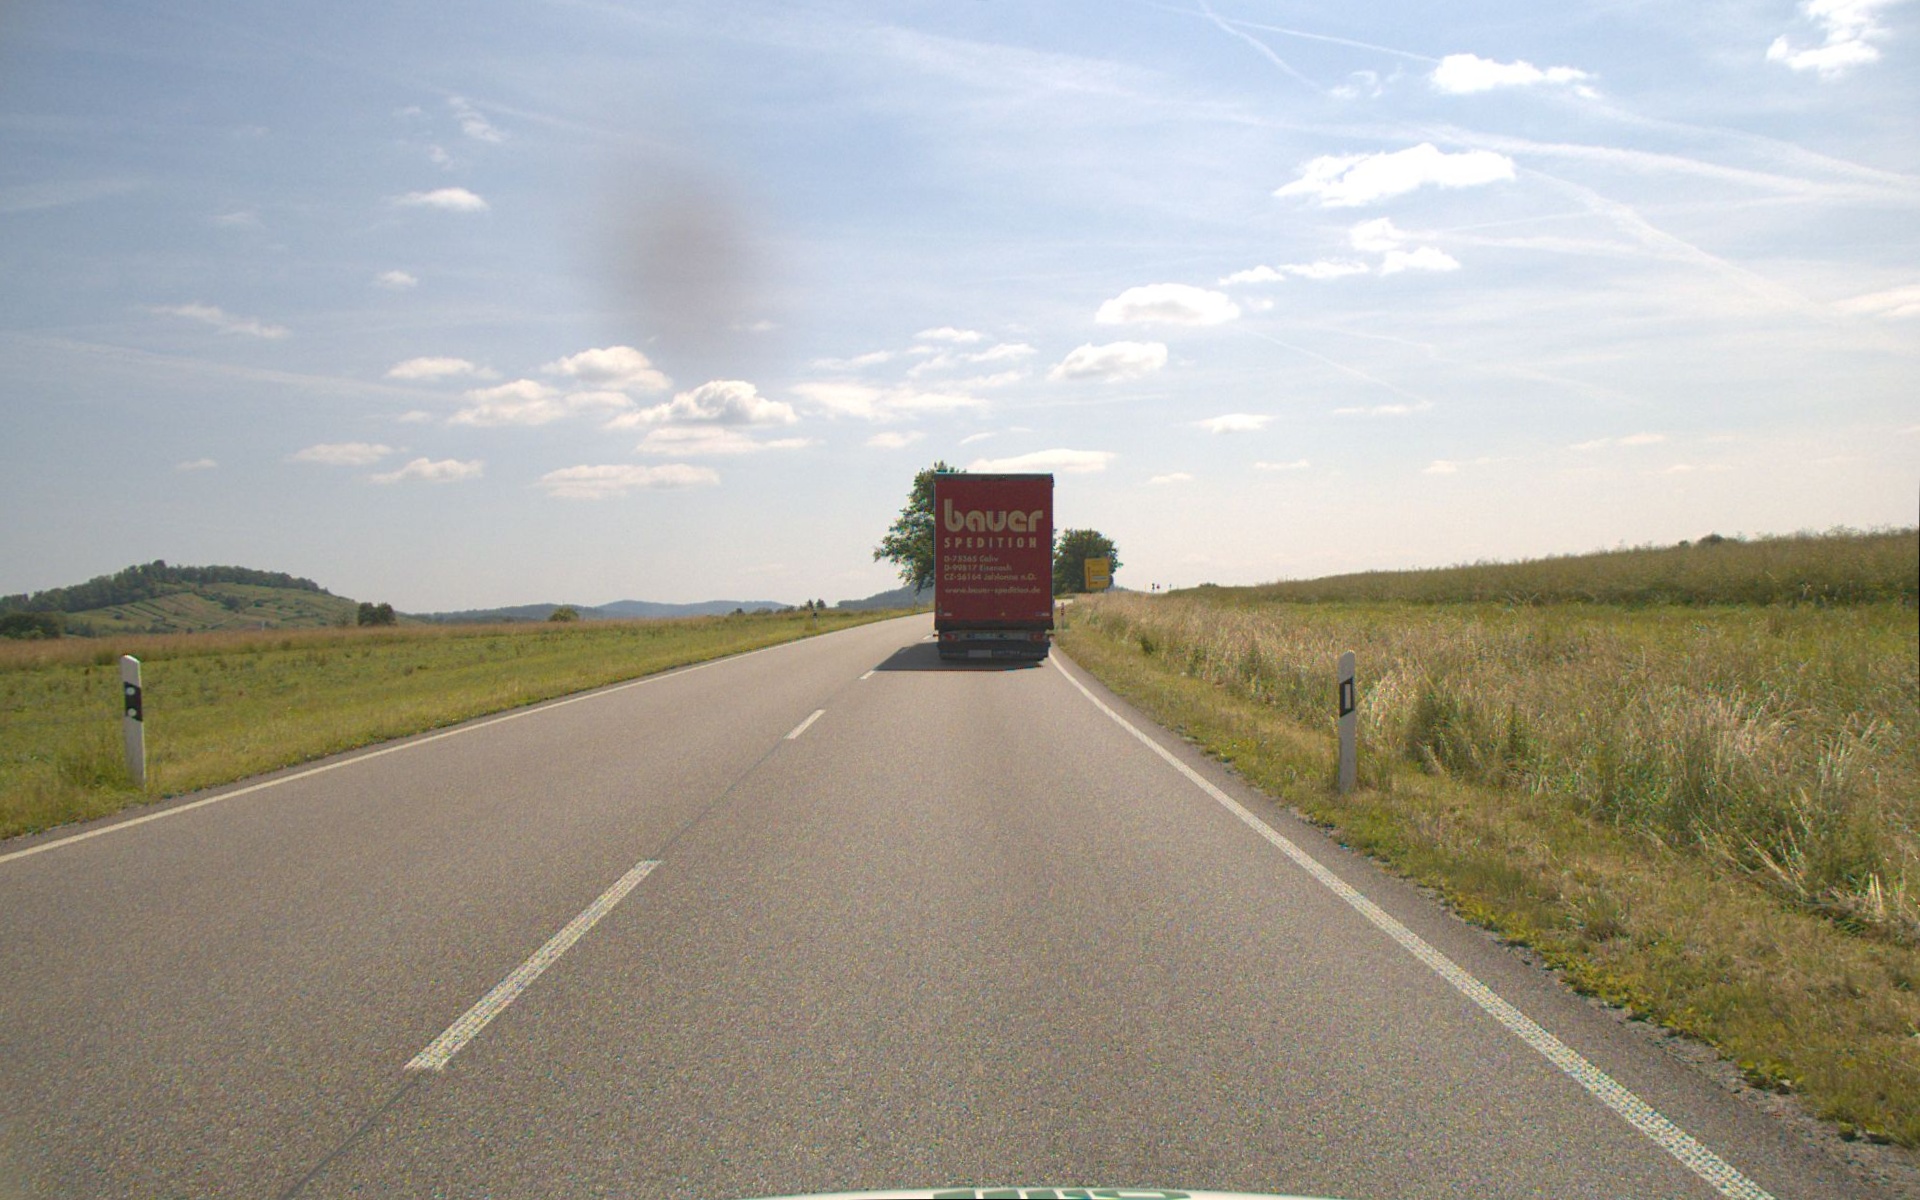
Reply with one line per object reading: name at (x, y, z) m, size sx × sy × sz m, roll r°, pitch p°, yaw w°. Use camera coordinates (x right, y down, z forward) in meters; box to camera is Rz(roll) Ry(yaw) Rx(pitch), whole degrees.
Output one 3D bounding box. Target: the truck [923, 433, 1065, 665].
truck at (0.689, -1.131, 38.847) m, size 2.914 × 4.795 × 9.366 m, roll 0°, pitch 1°, yaw 0°
